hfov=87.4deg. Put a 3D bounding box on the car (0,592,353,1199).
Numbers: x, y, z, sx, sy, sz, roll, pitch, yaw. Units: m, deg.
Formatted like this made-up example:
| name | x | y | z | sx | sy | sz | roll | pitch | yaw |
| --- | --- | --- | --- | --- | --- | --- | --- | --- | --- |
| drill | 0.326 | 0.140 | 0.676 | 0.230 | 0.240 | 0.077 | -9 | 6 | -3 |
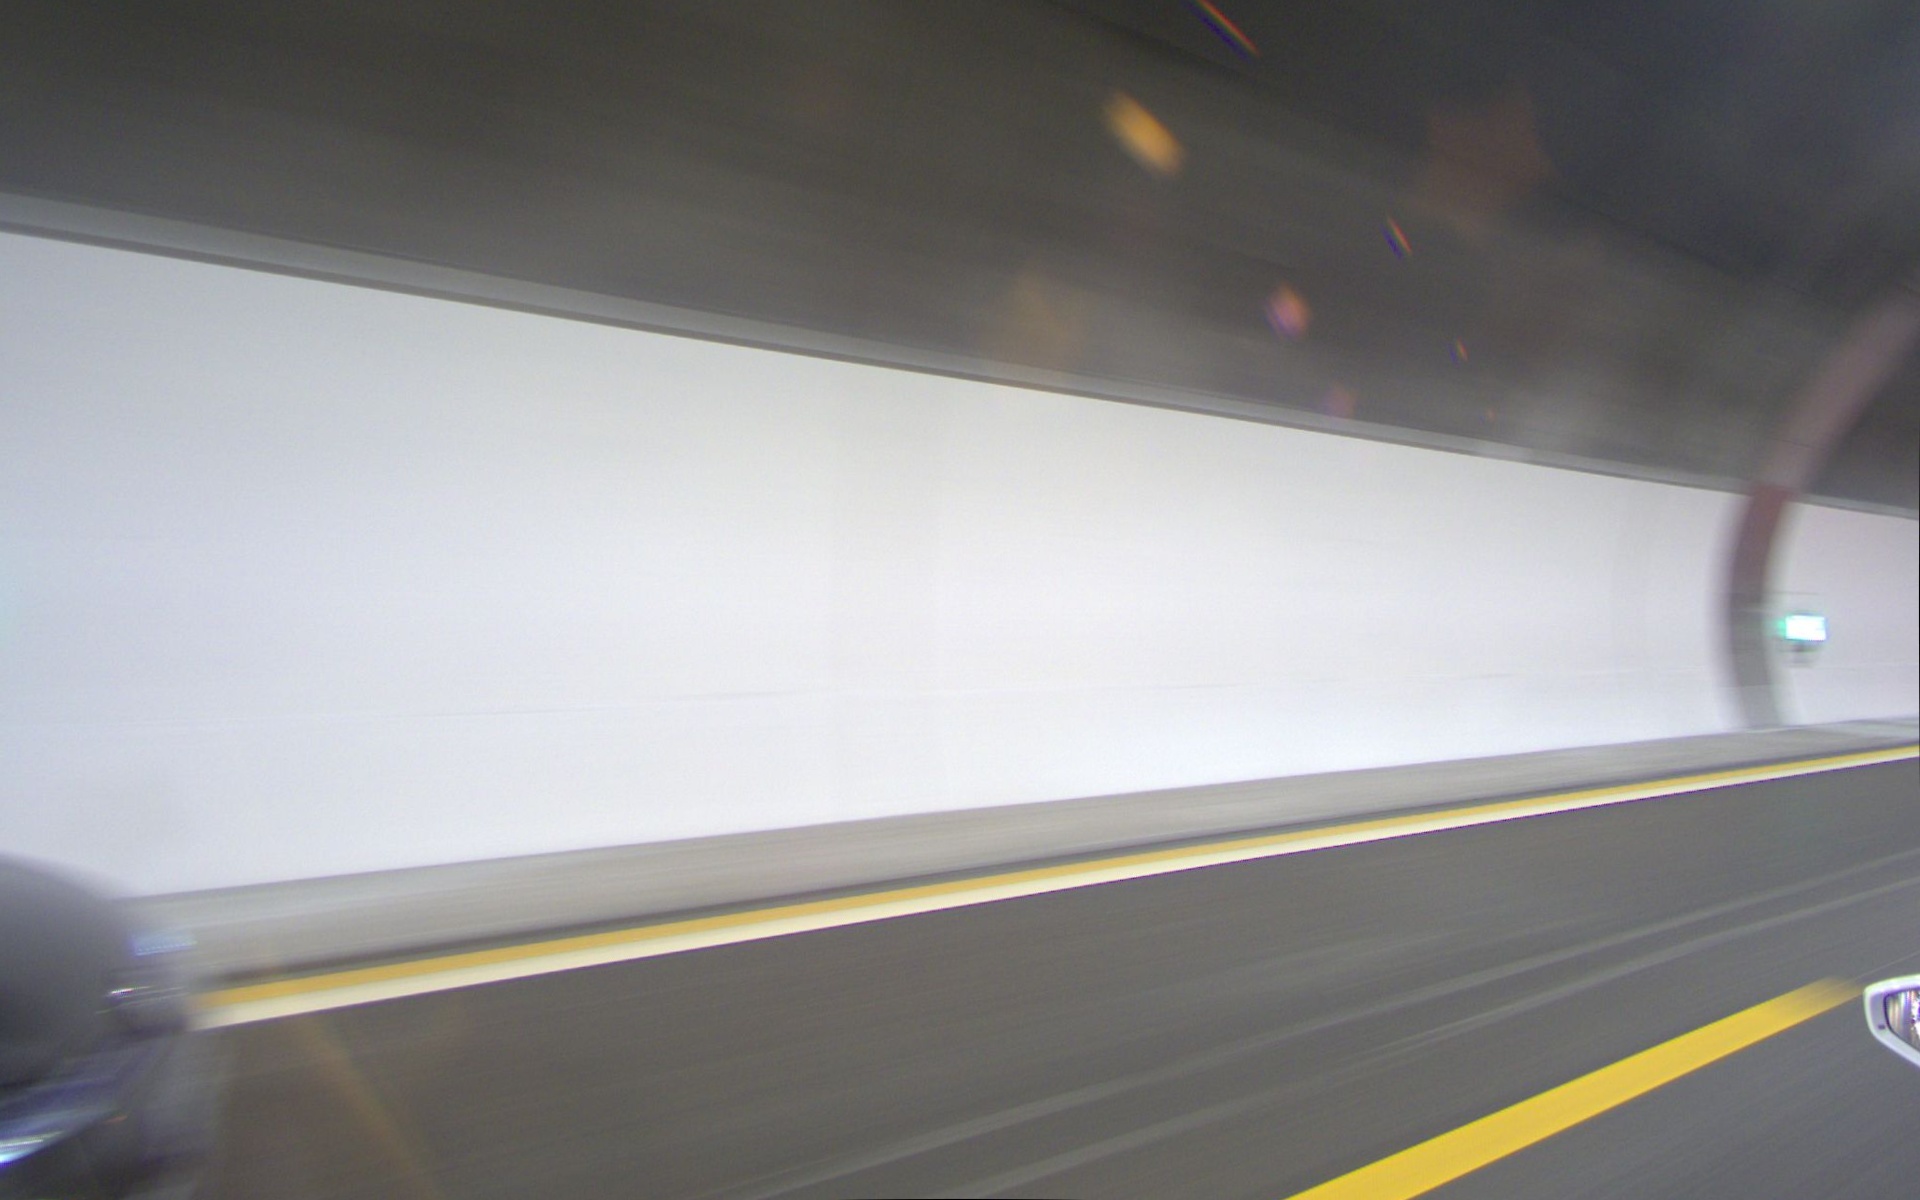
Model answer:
| name | x | y | z | sx | sy | sz | roll | pitch | yaw |
| --- | --- | --- | --- | --- | --- | --- | --- | --- | --- |
| car | -3.431 | 0.686 | 0.956 | 4.827 | 1.457 | 1.769 | 1 | 0 | -31 |
